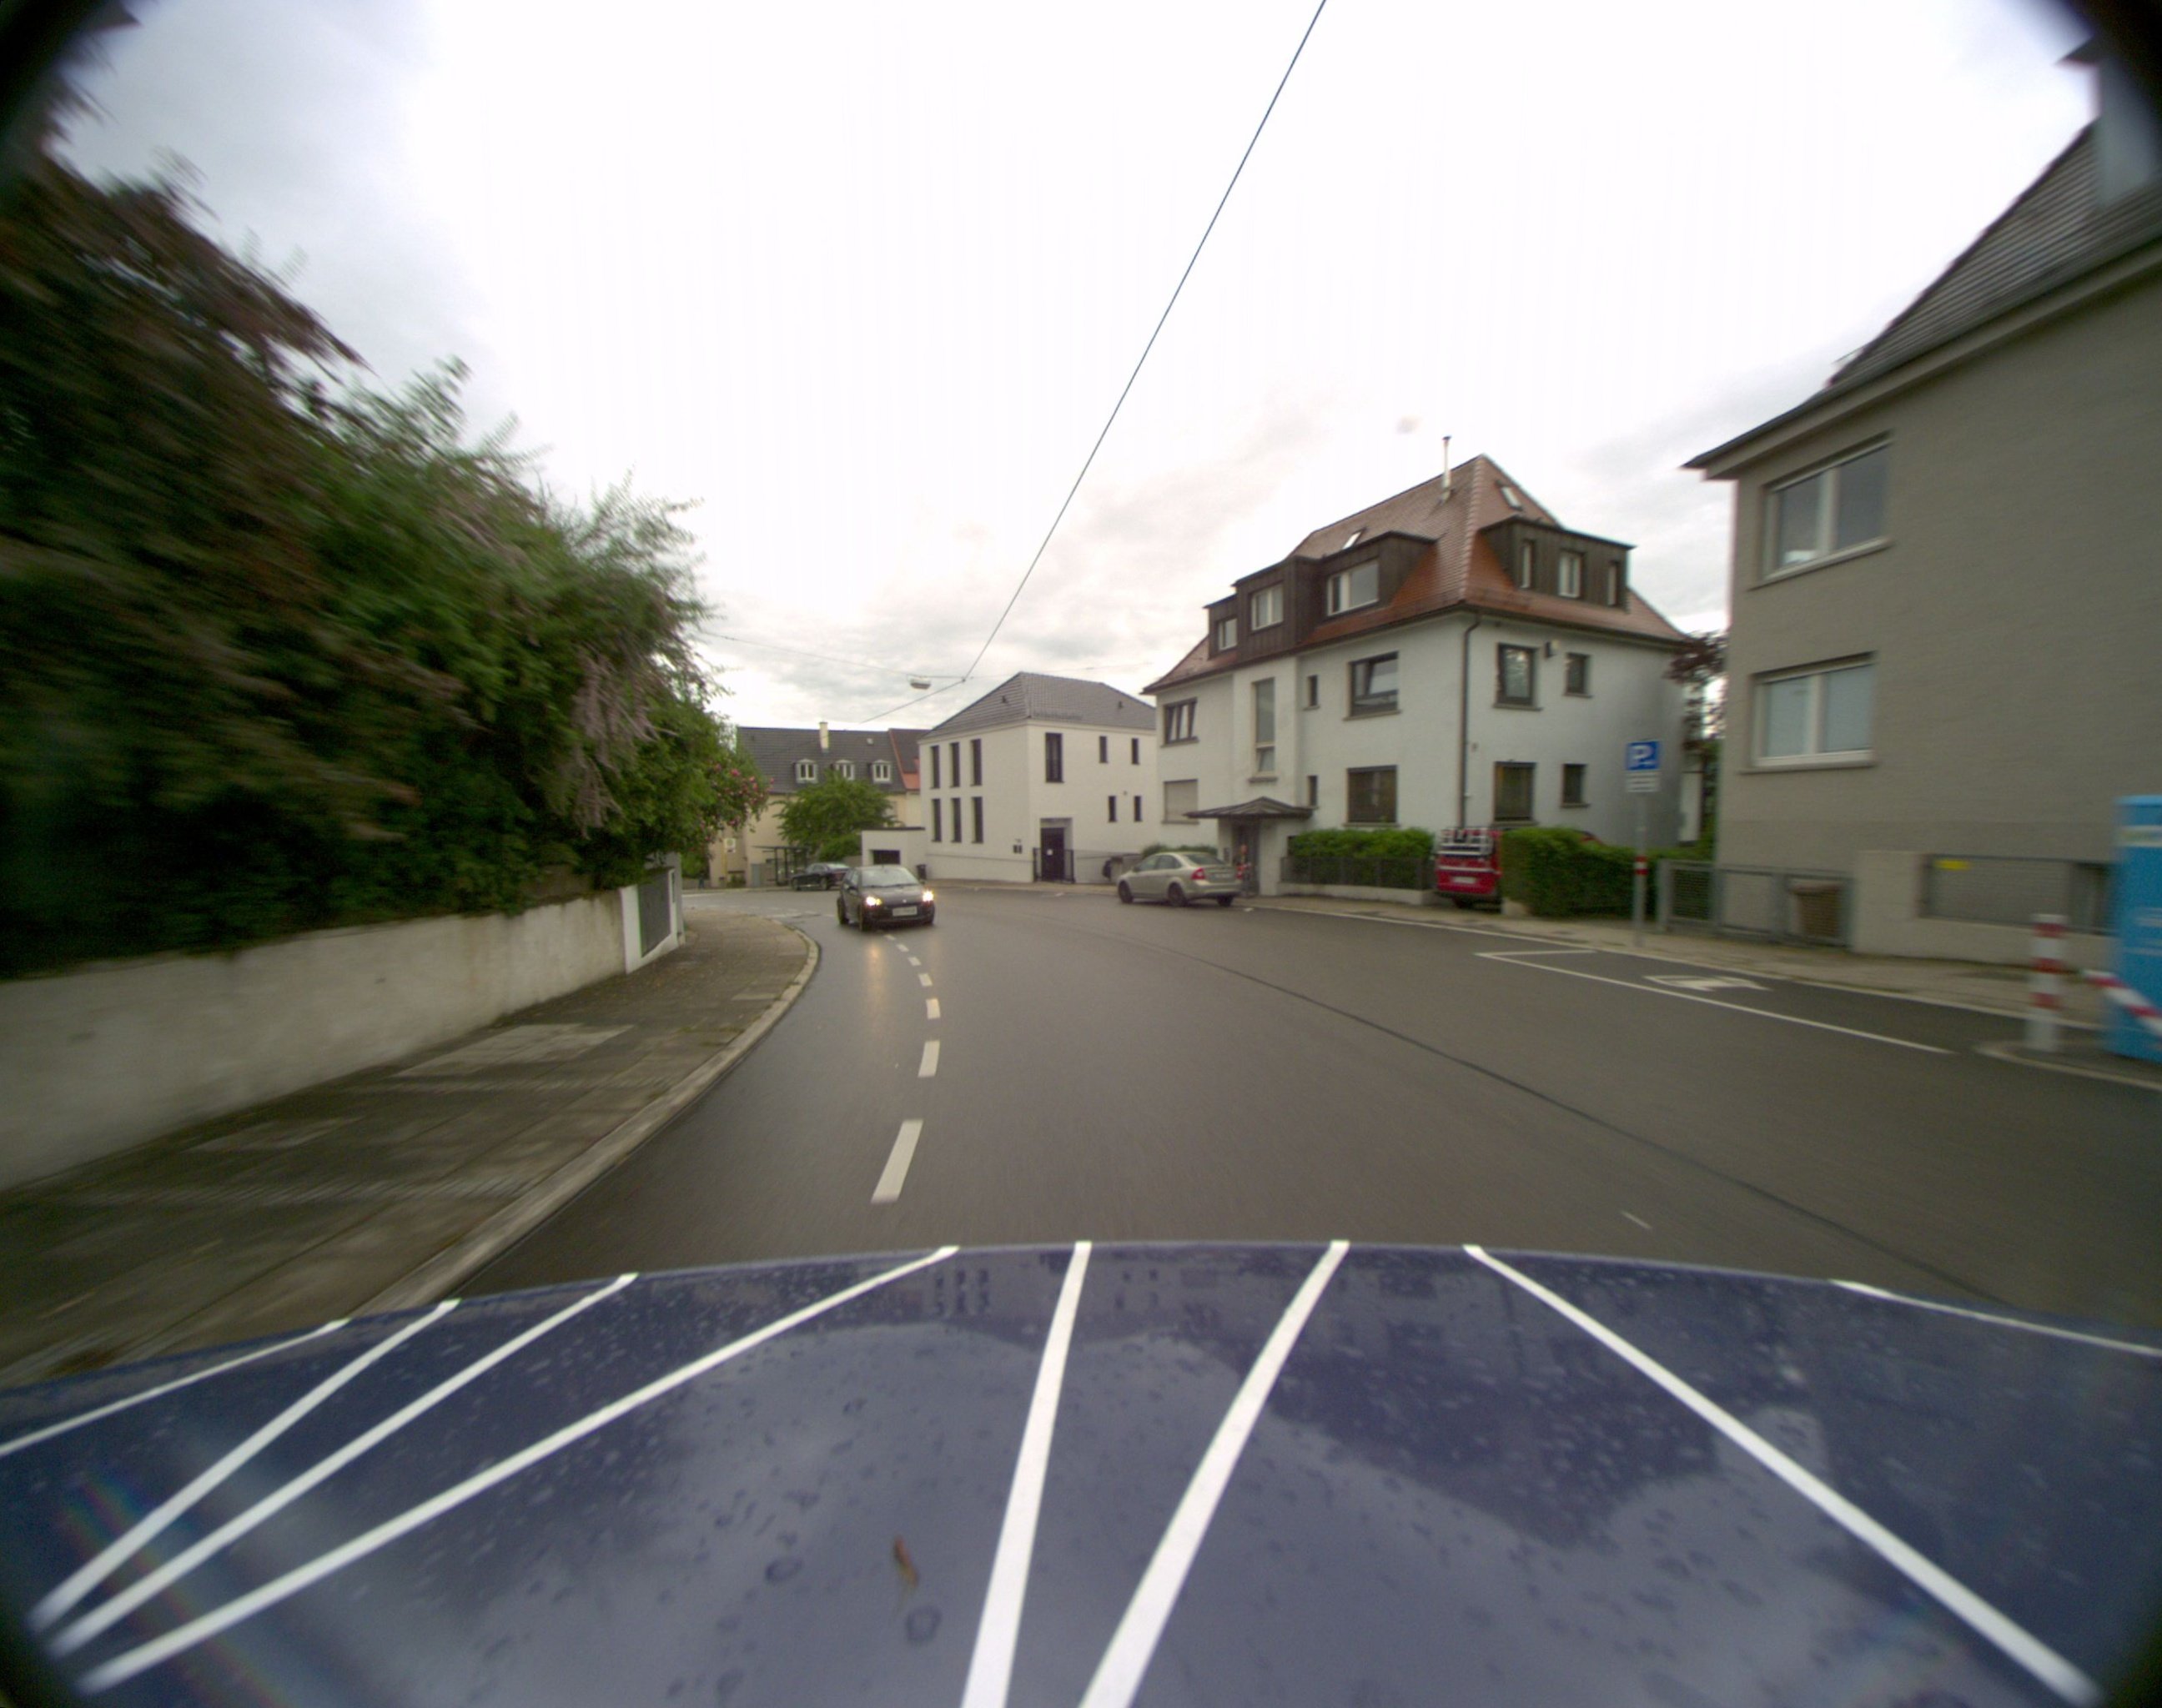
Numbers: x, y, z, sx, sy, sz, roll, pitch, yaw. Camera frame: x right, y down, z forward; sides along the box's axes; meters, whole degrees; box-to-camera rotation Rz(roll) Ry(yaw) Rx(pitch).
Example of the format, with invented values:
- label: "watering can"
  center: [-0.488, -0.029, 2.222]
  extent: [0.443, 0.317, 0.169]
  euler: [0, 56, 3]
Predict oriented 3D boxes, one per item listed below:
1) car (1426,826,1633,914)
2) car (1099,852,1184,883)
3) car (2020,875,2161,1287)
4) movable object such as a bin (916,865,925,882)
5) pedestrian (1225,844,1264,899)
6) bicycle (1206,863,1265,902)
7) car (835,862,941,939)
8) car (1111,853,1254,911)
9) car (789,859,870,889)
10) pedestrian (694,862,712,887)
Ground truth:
- label: "car"
  center: [10.113, 0.381, 17.177]
  extent: [4.005, 1.812, 1.996]
  euler: [1, -1, -22]
- label: "car"
  center: [3.012, 0.668, 37.385]
  extent: [4.009, 1.345, 1.737]
  euler: [3, 0, -40]
- label: "car"
  center: [4.624, 0.819, 1.139]
  extent: [1.491, 1.415, 3.854]
  euler: [0, 1, -5]
- label: "movable object such as a bin"
  center: [-8.930, 1.090, 42.330]
  extent: [0.282, 0.907, 0.372]
  euler: [-1, 1, 42]
- label: "pedestrian"
  center: [4.891, 0.510, 22.685]
  extent: [0.948, 1.568, 0.493]
  euler: [-4, 2, -16]
- label: "bicycle"
  center: [4.516, 0.821, 22.361]
  extent: [0.458, 1.061, 1.917]
  euler: [-4, 2, -31]
- label: "car"
  center: [-4.733, 1.023, 18.313]
  extent: [1.683, 1.405, 3.628]
  euler: [-5, 3, -25]
- label: "car"
  center: [2.726, 0.725, 21.438]
  extent: [1.844, 1.417, 4.220]
  euler: [-2, 1, -28]
- label: "car"
  center: [-13.638, 1.073, 41.041]
  extent: [4.977, 1.477, 1.838]
  euler: [-2, 2, 42]
- label: "pedestrian"
  center: [-28.147, 1.529, 56.575]
  extent: [0.726, 1.847, 0.790]
  euler: [-1, 4, 40]
